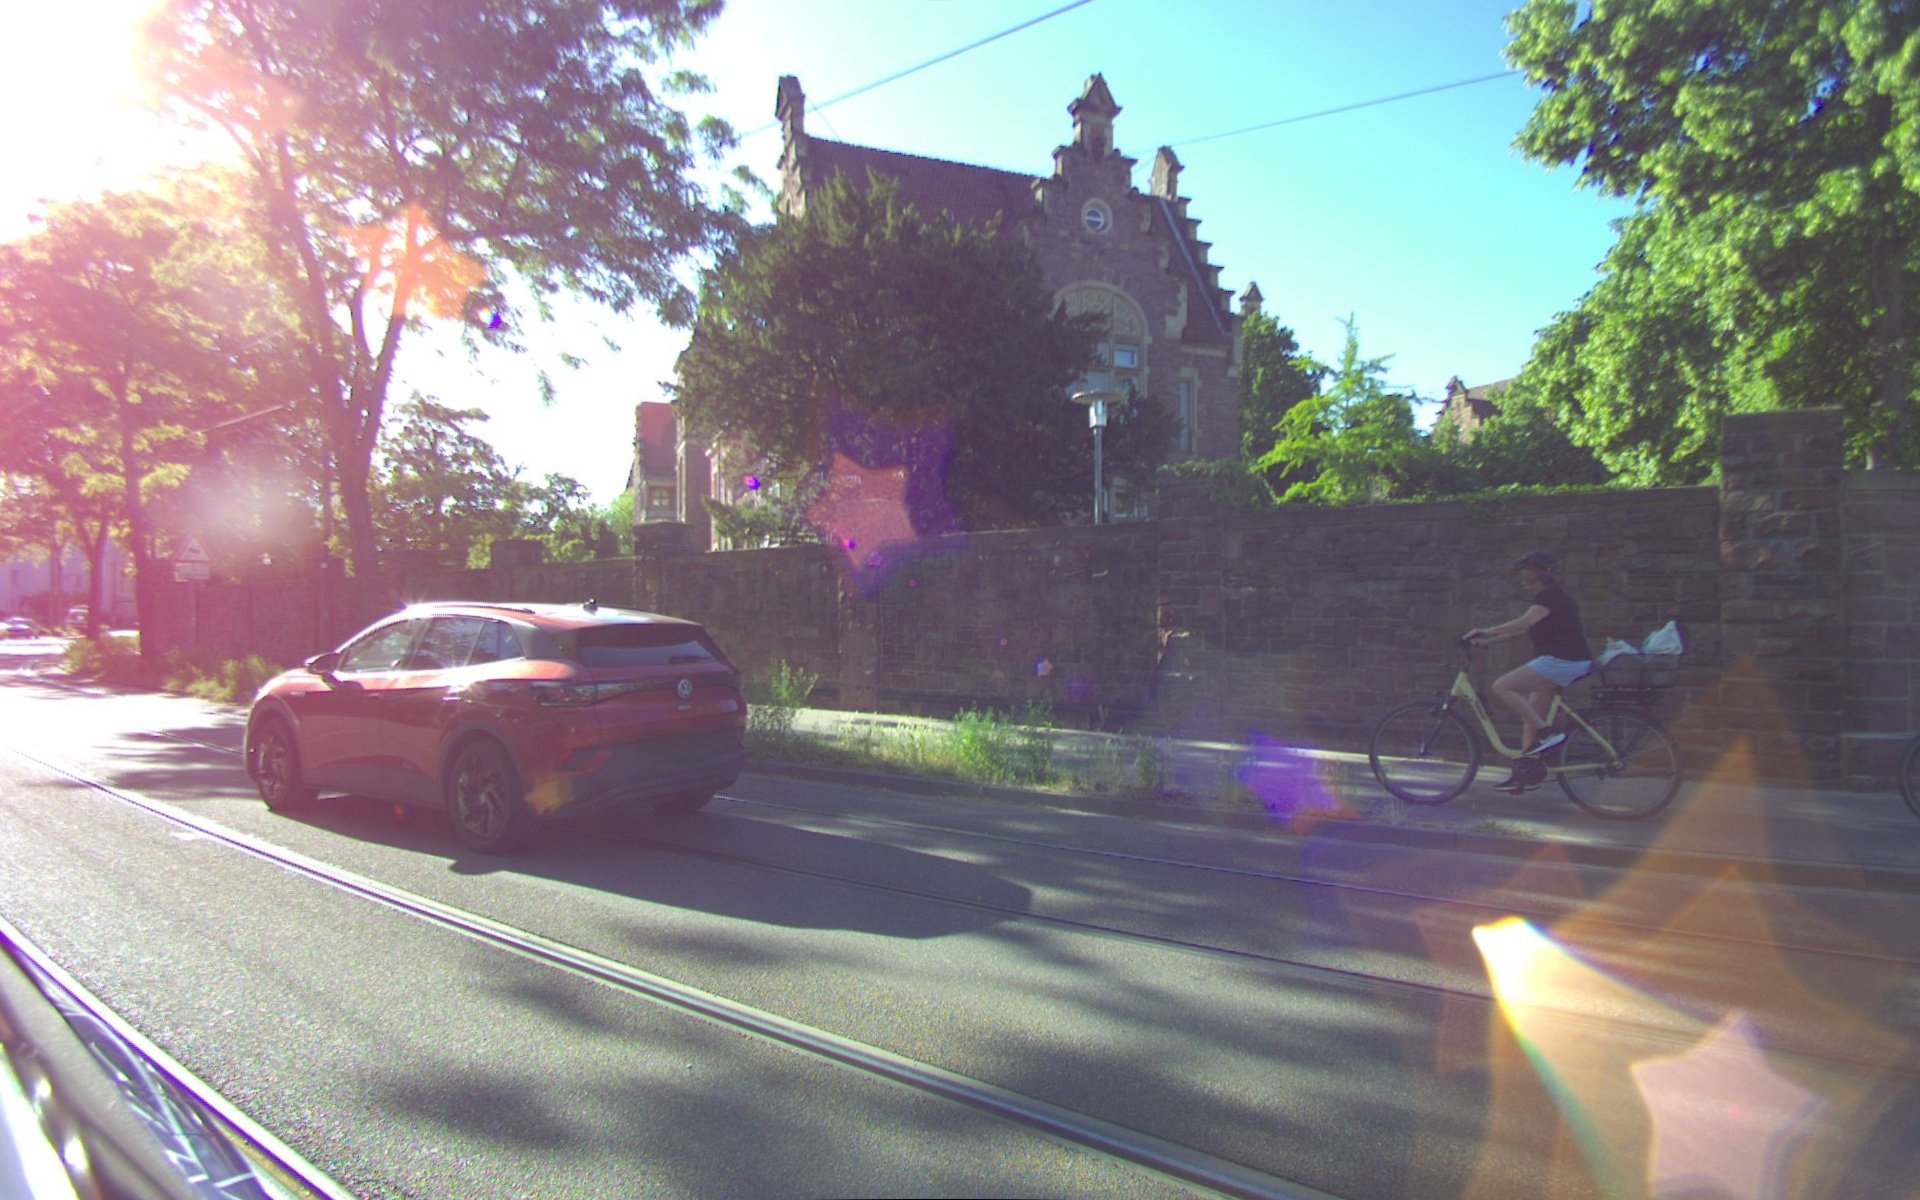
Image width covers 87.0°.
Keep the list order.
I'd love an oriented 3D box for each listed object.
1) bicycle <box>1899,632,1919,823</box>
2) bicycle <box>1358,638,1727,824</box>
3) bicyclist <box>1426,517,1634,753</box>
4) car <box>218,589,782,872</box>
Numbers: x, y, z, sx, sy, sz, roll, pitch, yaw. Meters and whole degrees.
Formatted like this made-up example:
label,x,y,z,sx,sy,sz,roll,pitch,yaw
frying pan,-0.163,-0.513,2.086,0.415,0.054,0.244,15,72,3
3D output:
label,x,y,z,sx,sy,sz,roll,pitch,yaw
bicycle,6.355,0.759,5.391,1.848,1.097,0.680,1,0,30
bicycle,3.808,0.818,6.831,2.051,1.097,0.681,-1,-1,24
bicyclist,3.800,0.226,6.845,1.145,1.470,0.649,-1,-1,25
car,-3.613,0.789,7.727,4.343,1.619,1.804,-1,-1,31
